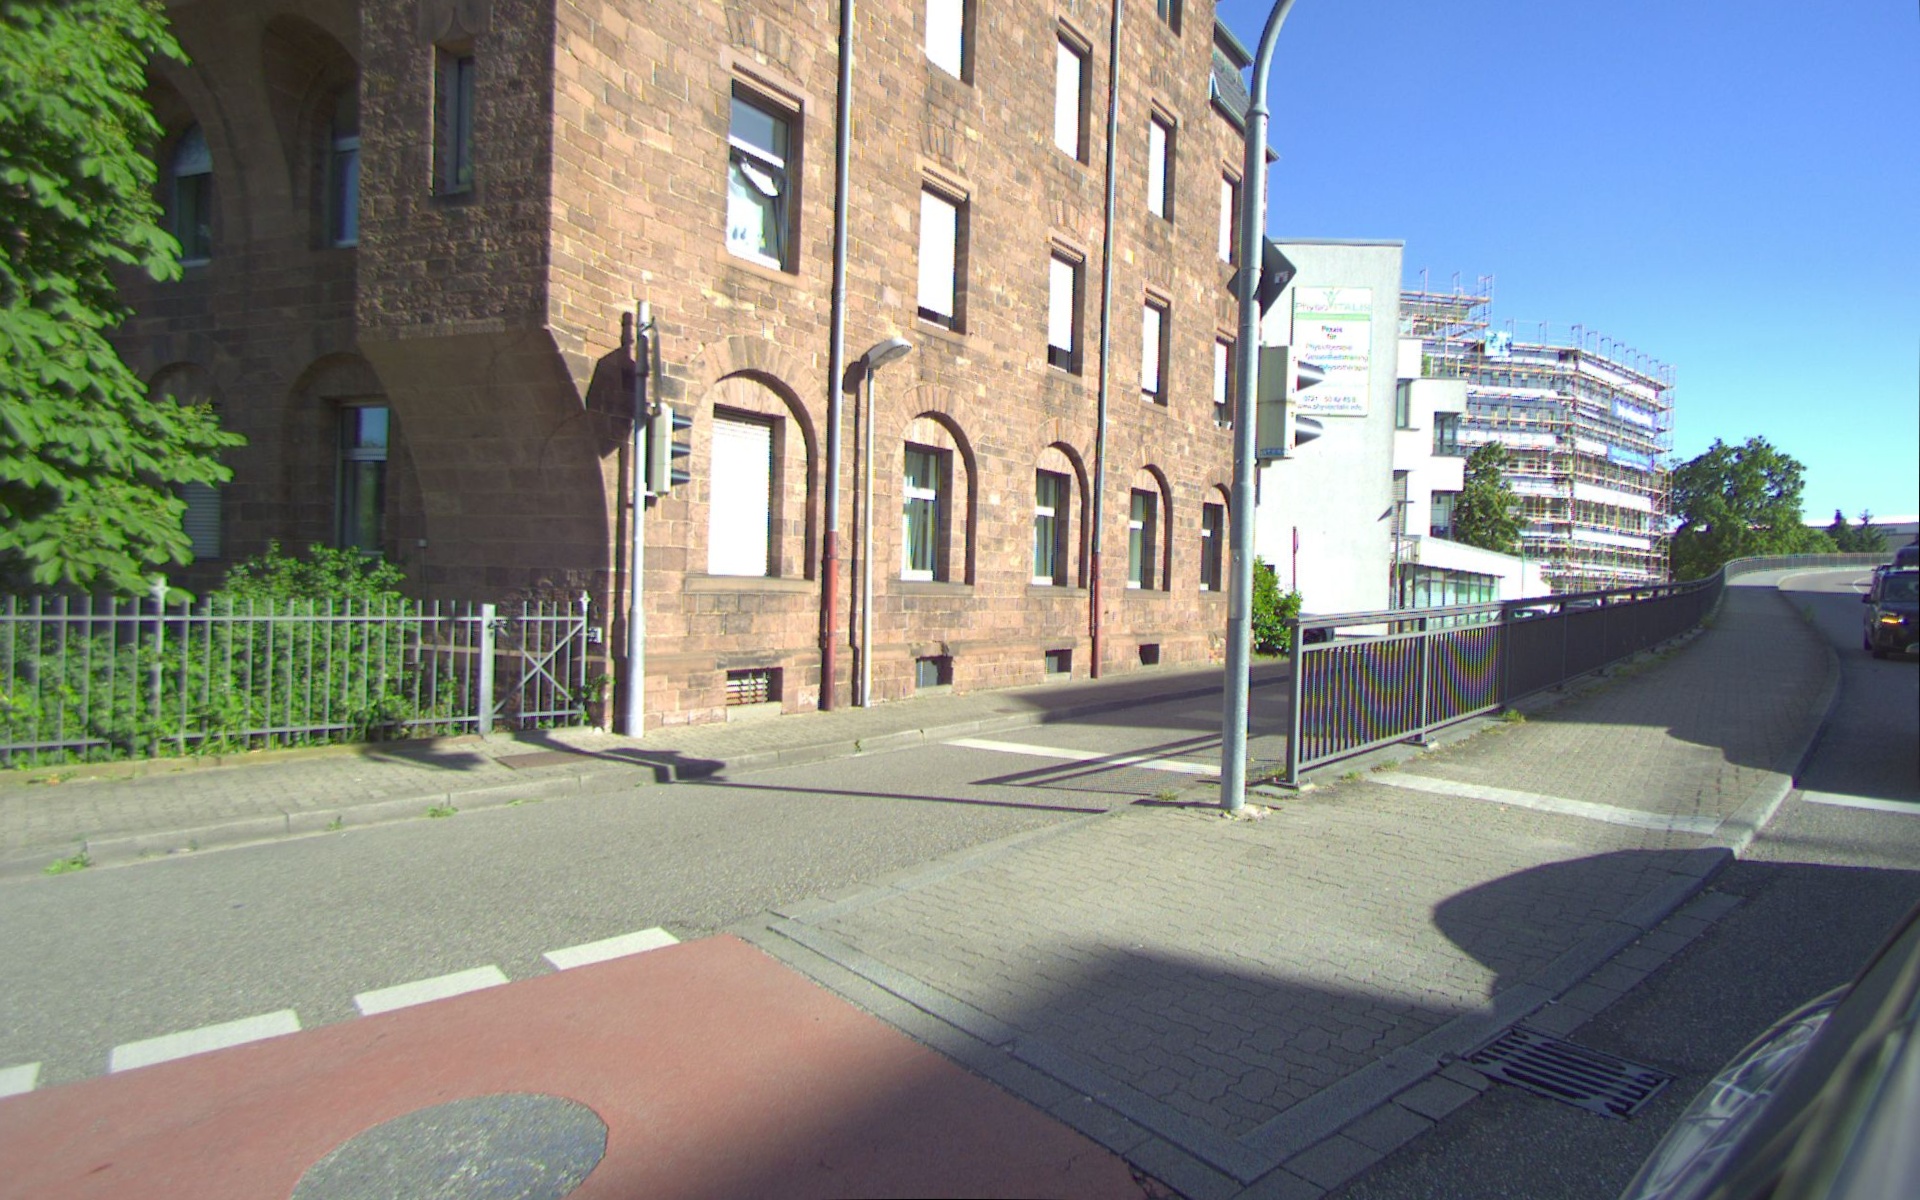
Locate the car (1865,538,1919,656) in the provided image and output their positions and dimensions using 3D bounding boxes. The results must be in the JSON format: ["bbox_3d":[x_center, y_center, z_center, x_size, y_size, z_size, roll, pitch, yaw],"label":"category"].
[{"bbox_3d":[20.144,-0.145,20.790,1.901,2.240,4.538,2,4,37],"label":"car"}]

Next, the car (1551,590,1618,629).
[{"bbox_3d":[27.580,0.398,44.649,1.843,1.554,3.940,3,2,41],"label":"car"}]

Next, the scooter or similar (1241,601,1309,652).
[{"bbox_3d":[7.899,0.656,25.373,1.453,1.234,0.775,-1,-1,35],"label":"scooter or similar"}]

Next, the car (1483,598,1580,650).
[{"bbox_3d":[19.113,0.747,33.759,1.844,1.448,4.611,1,3,42],"label":"car"}]

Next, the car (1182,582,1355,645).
[{"bbox_3d":[9.090,0.370,30.056,4.562,1.789,1.828,0,2,2],"label":"car"}]
